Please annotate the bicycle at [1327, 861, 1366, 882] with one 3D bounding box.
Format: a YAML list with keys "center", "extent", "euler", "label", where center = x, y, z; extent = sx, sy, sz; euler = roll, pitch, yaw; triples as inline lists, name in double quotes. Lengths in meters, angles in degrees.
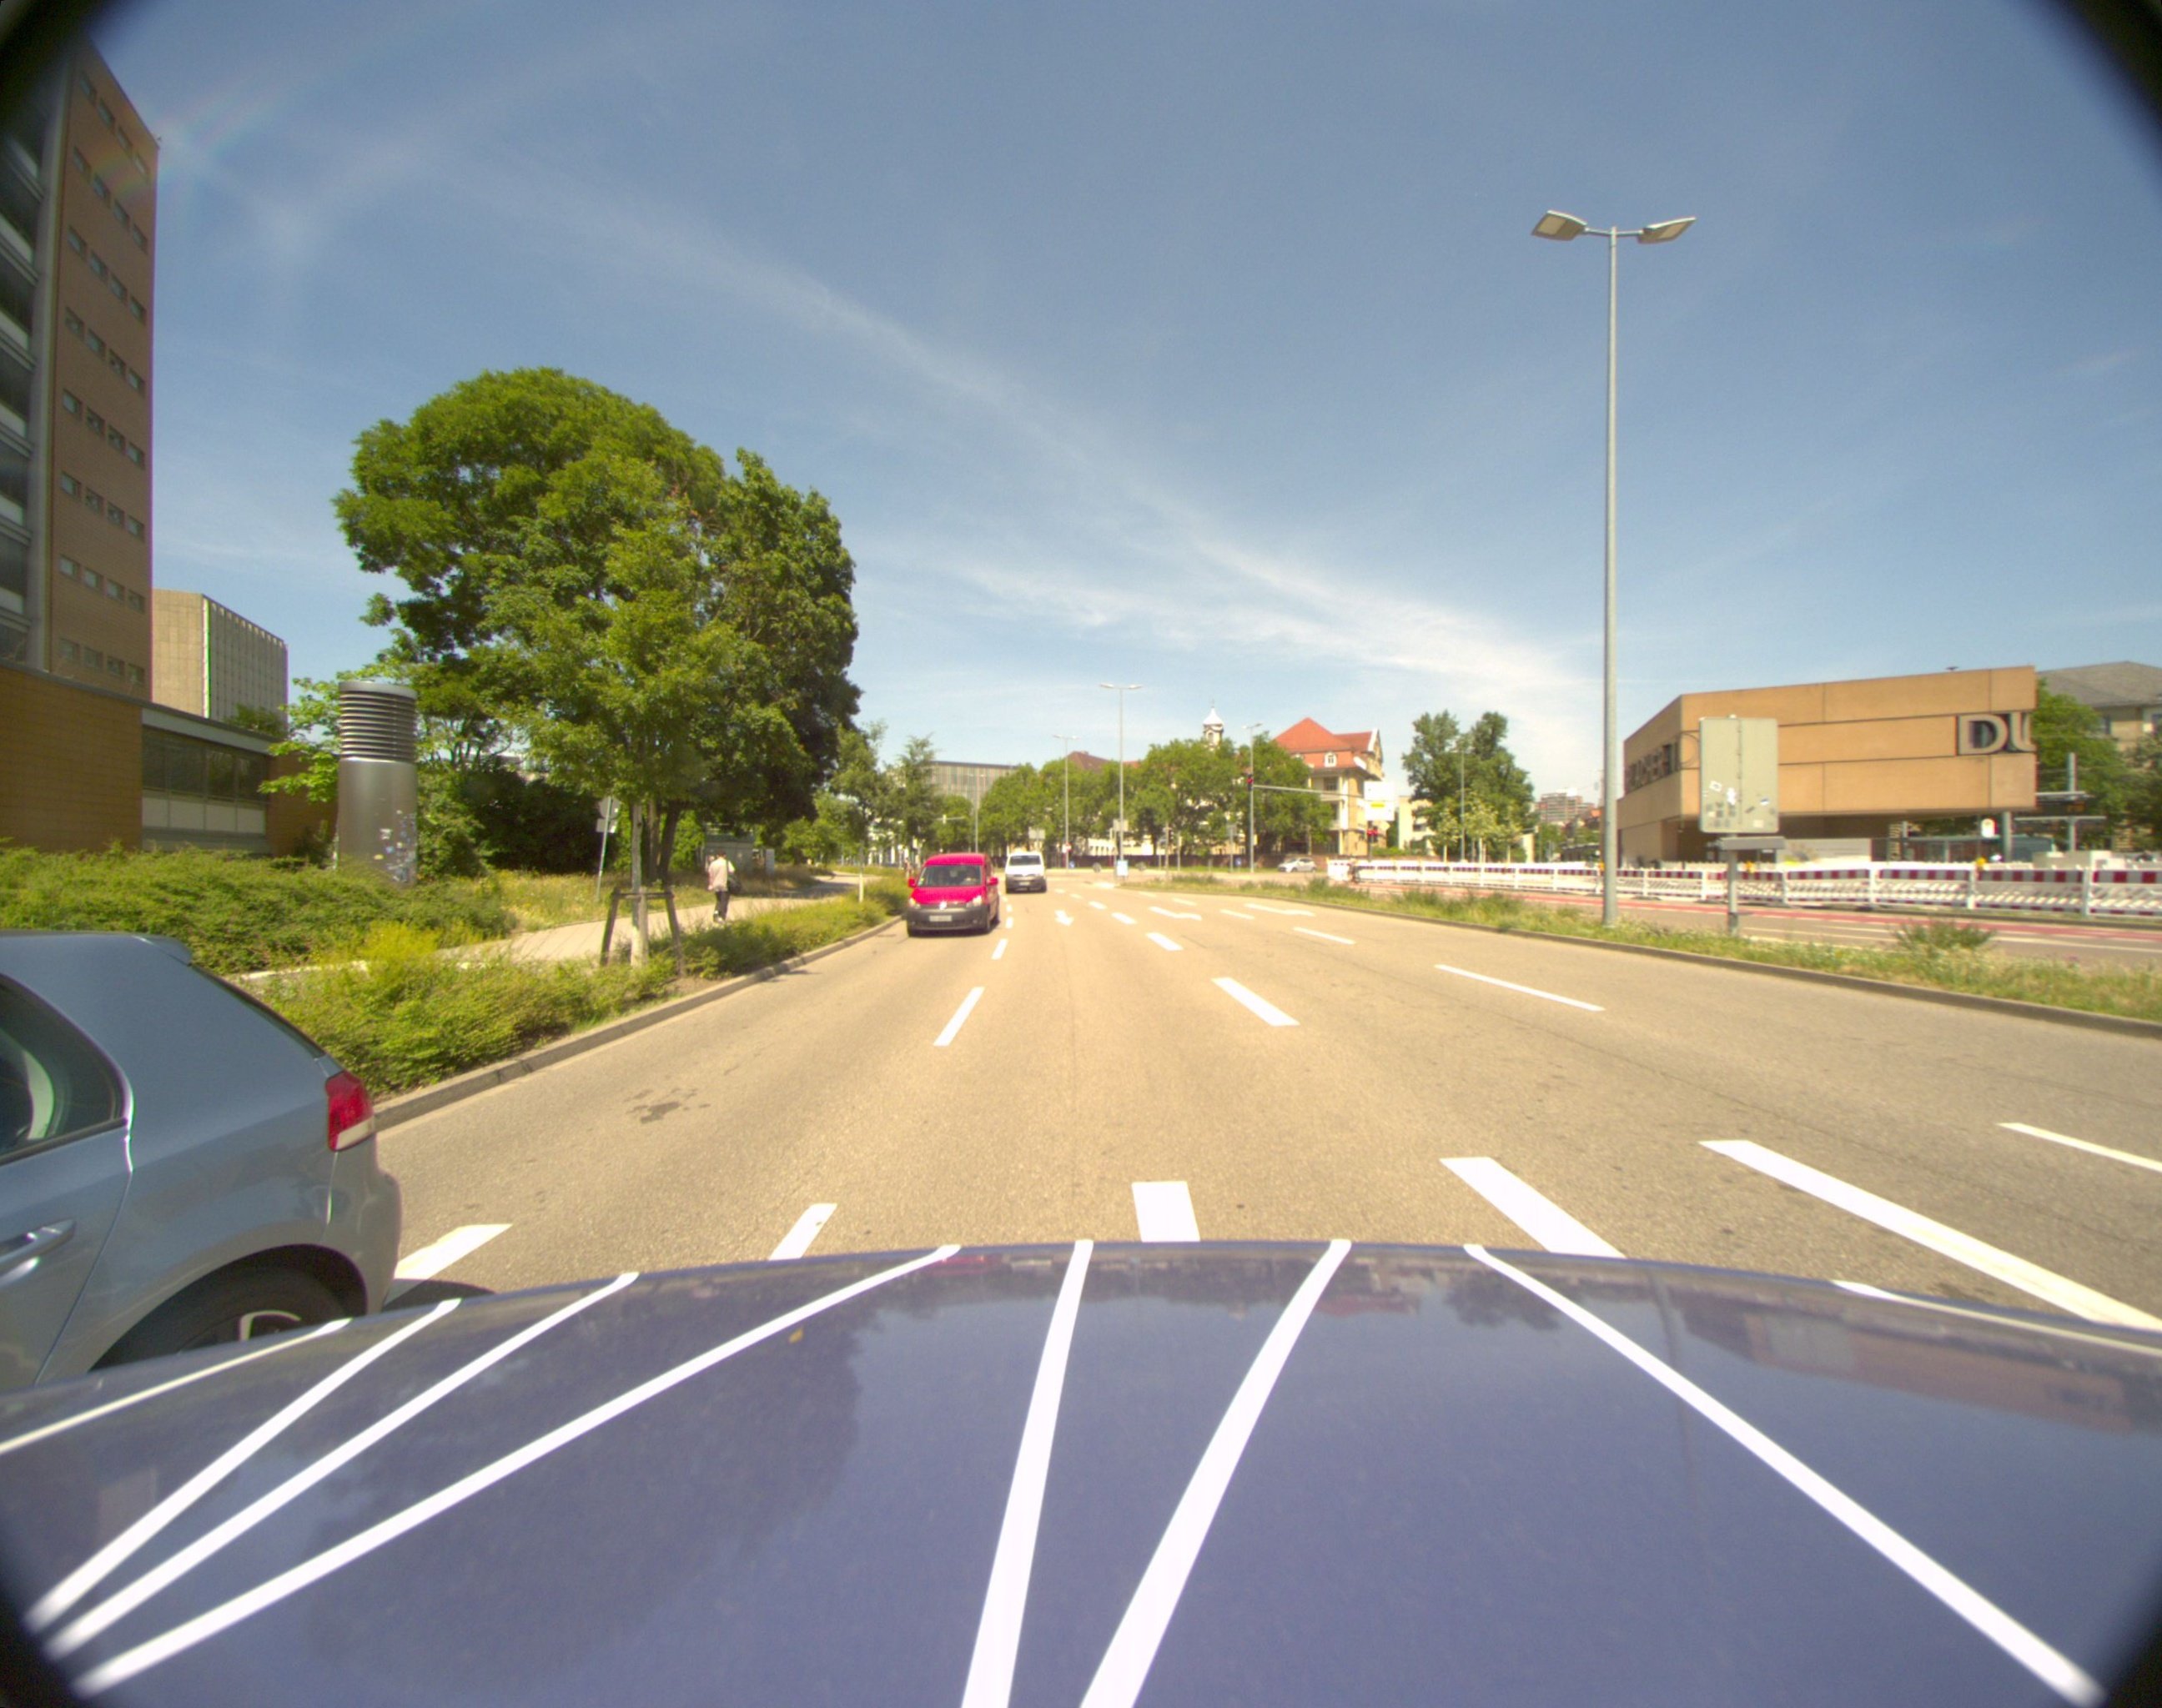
- center: [14.167, 0.915, 40.621]
  extent: [0.879, 1.066, 2.229]
  euler: [-2, 1, -14]
  label: "bicycle"

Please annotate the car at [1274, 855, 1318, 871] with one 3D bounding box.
- center: [19.546, 0.815, 68.927]
  extent: [3.645, 1.455, 1.787]
  euler: [0, 0, -30]
  label: "car"

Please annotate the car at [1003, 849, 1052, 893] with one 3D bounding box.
- center: [-2.572, 0.781, 37.435]
  extent: [1.971, 1.958, 4.848]
  euler: [-2, 0, 0]
  label: "car"

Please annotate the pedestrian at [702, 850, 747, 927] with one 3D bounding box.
- center: [-8.383, 0.796, 17.883]
  extent: [0.728, 1.787, 0.614]
  euler: [0, 0, 1]
  label: "pedestrian"

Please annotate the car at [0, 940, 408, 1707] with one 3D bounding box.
- center: [-2.787, 0.990, 0.187]
  extent: [1.655, 1.450, 4.003]
  euler: [-2, 0, -1]
  label: "car"

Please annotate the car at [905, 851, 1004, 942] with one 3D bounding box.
- center: [-2.854, 0.887, 18.017]
  extent: [1.655, 1.848, 4.545]
  euler: [-1, 0, -2]
  label: "car"

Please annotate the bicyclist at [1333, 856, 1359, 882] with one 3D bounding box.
- center: [14.188, 0.770, 40.663]
  extent: [0.587, 1.348, 1.438]
  euler: [-2, 1, -14]
  label: "bicyclist"
